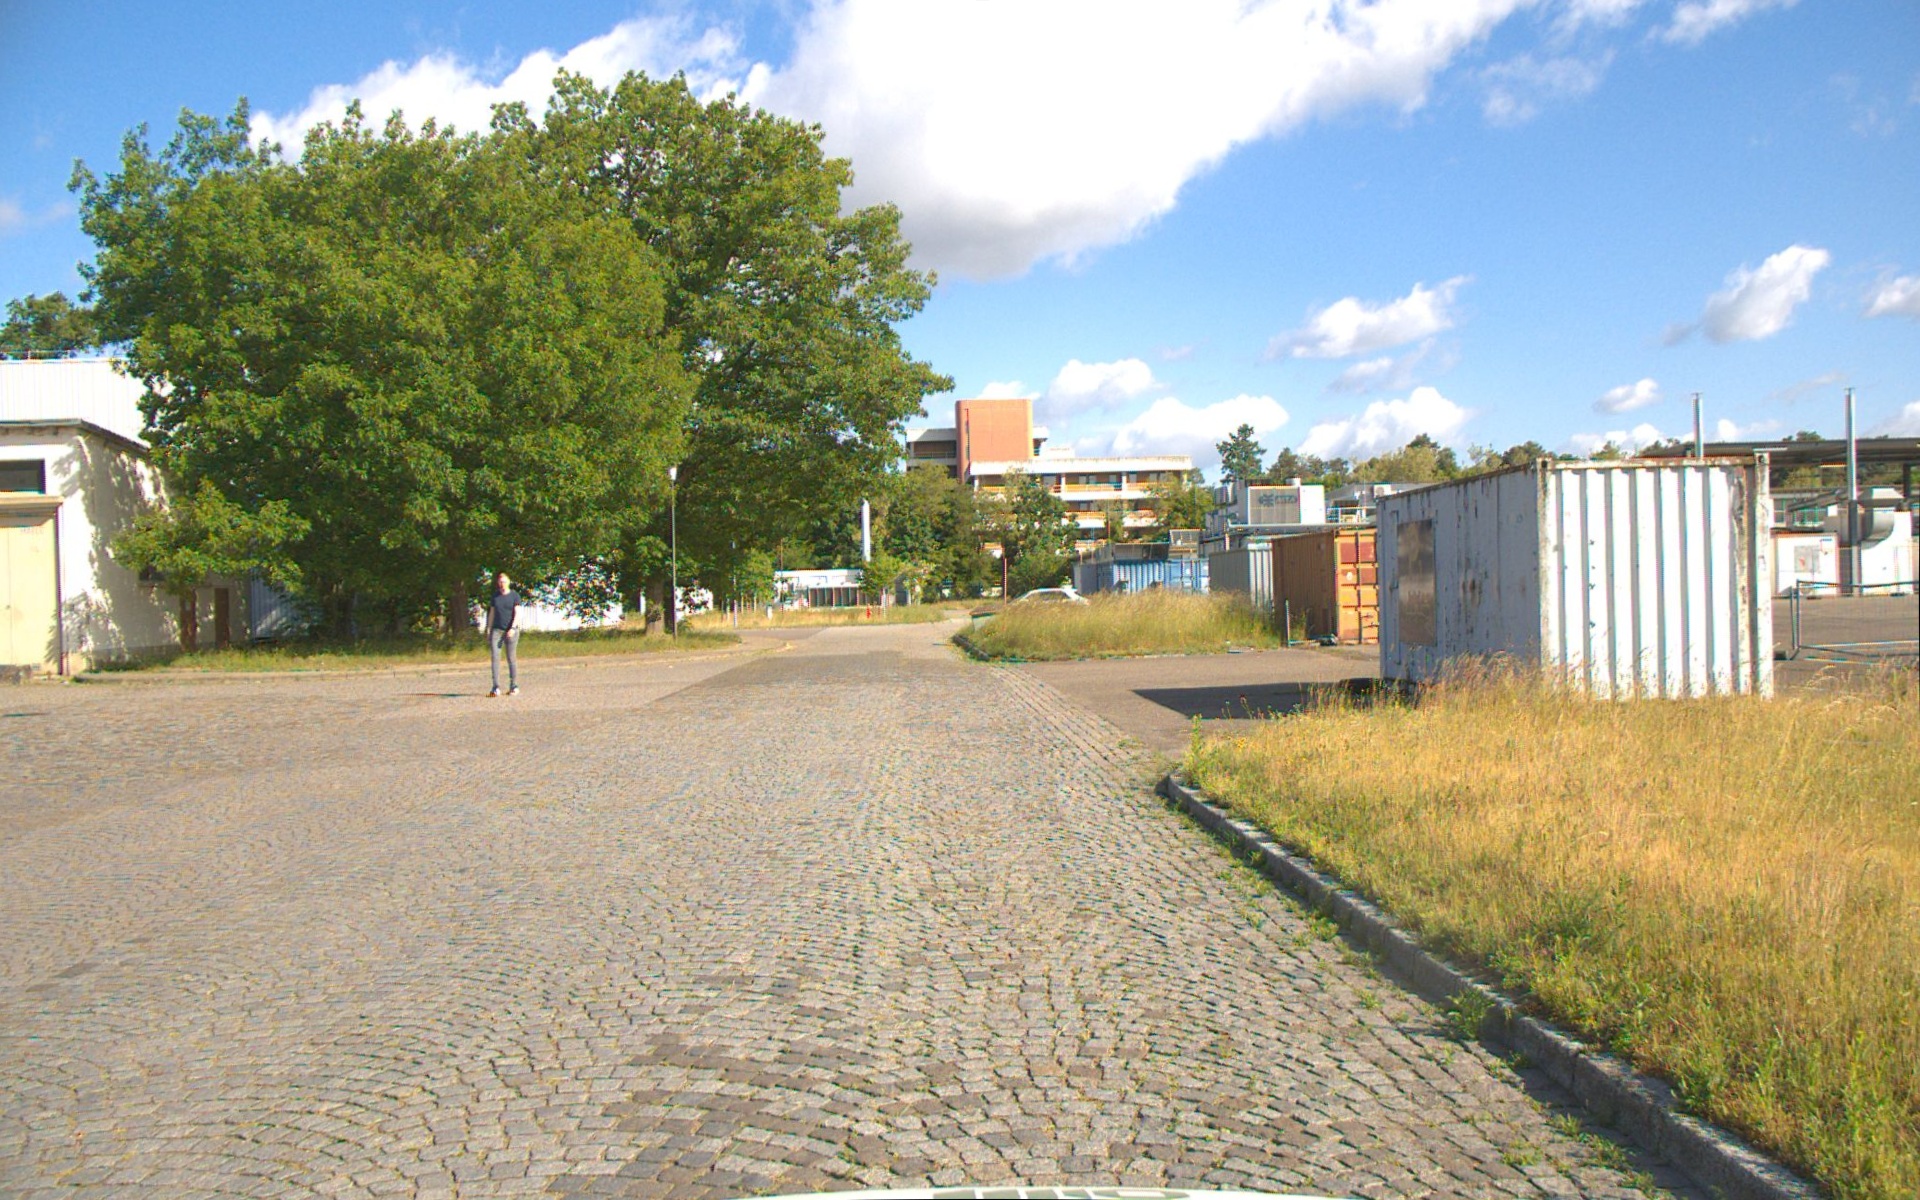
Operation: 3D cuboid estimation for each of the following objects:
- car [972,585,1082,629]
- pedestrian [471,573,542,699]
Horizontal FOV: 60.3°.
[{"bbox_3d":[2.846,0.288,70.683,4.496,1.707,1.874,-2,0,-3],"label":"car"},{"bbox_3d":[-7.264,0.558,26.530,0.781,1.947,1.142,-2,0,-2],"label":"pedestrian"}]
